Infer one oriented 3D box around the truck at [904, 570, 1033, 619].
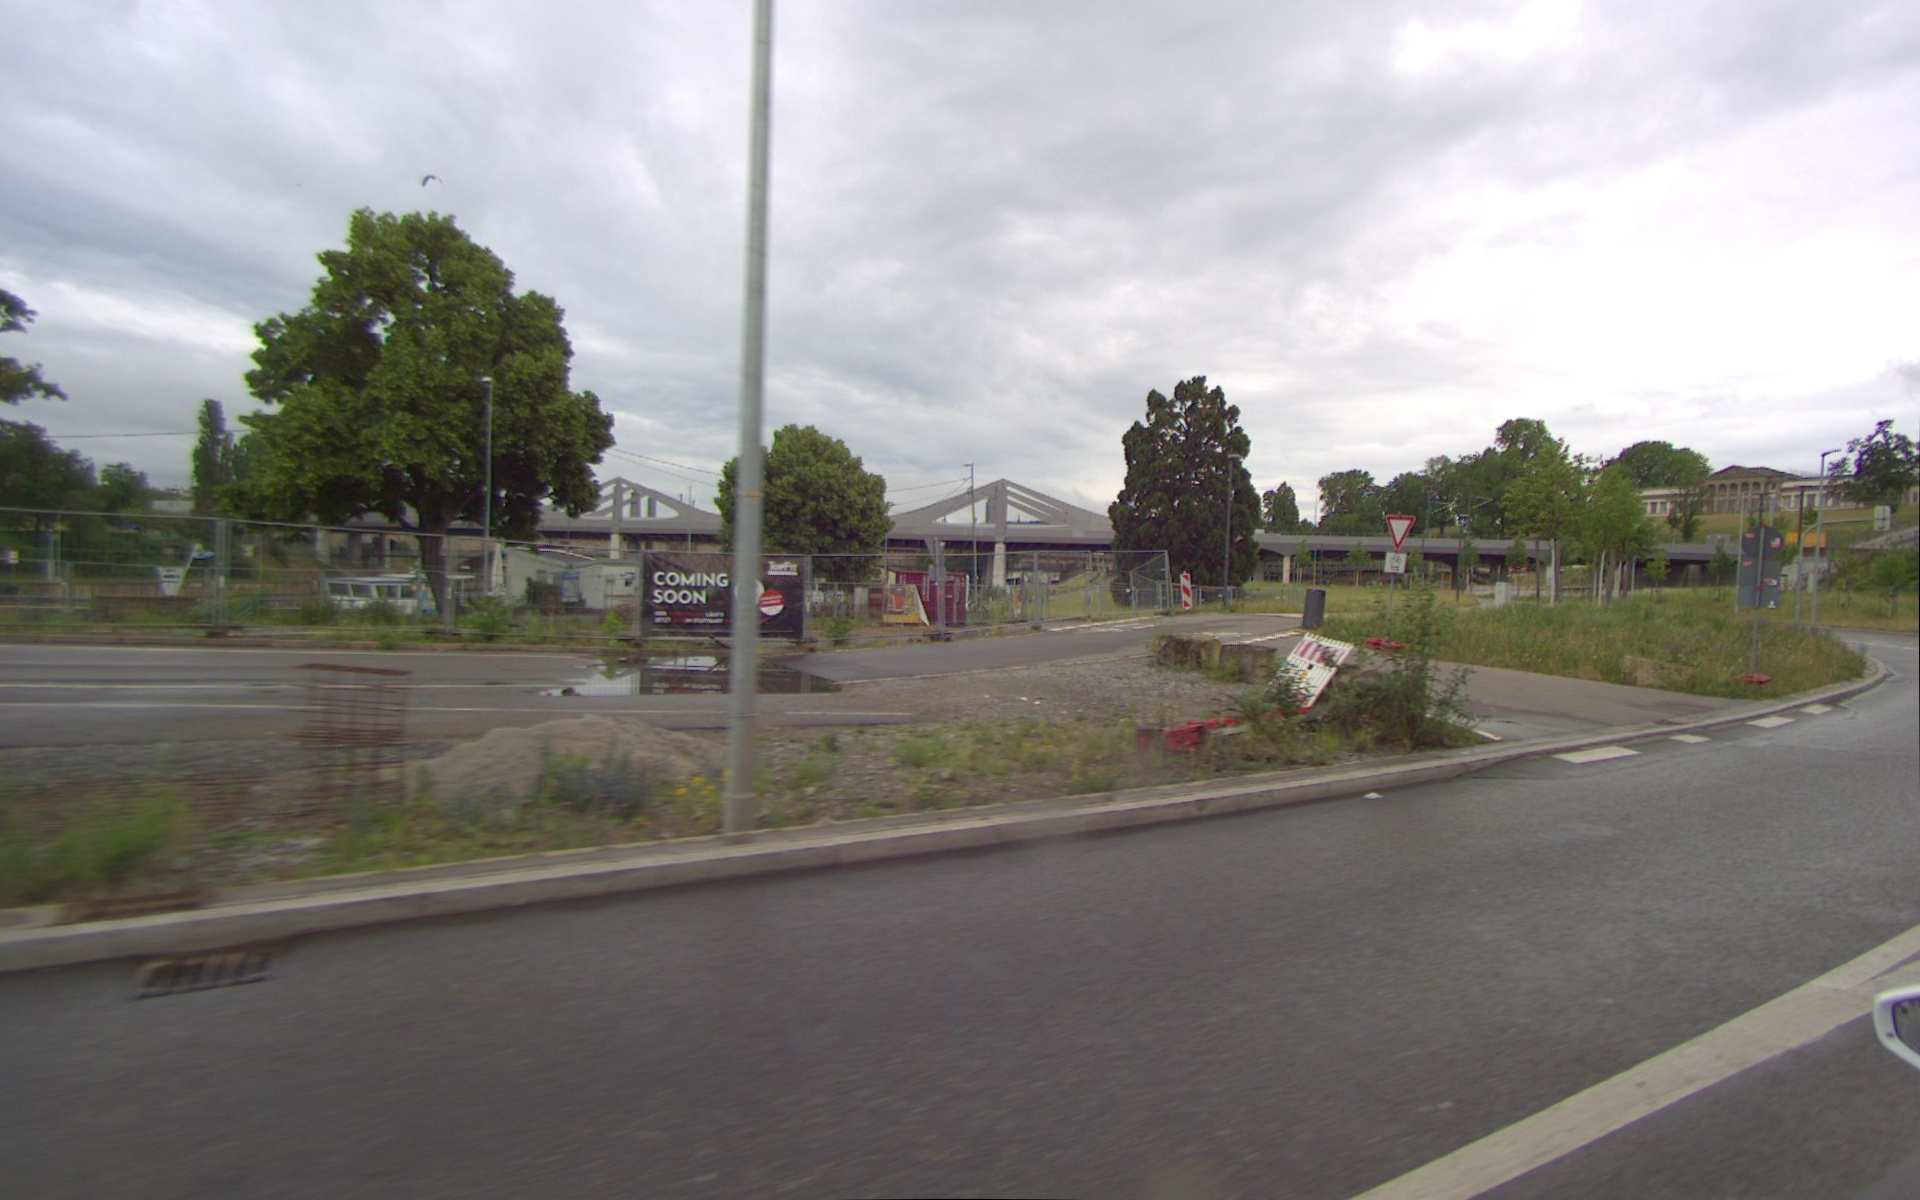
[{"bbox_3d":[0.505,-0.384,64.164,7.808,2.840,2.422,3,1,23],"label":"truck"}]
